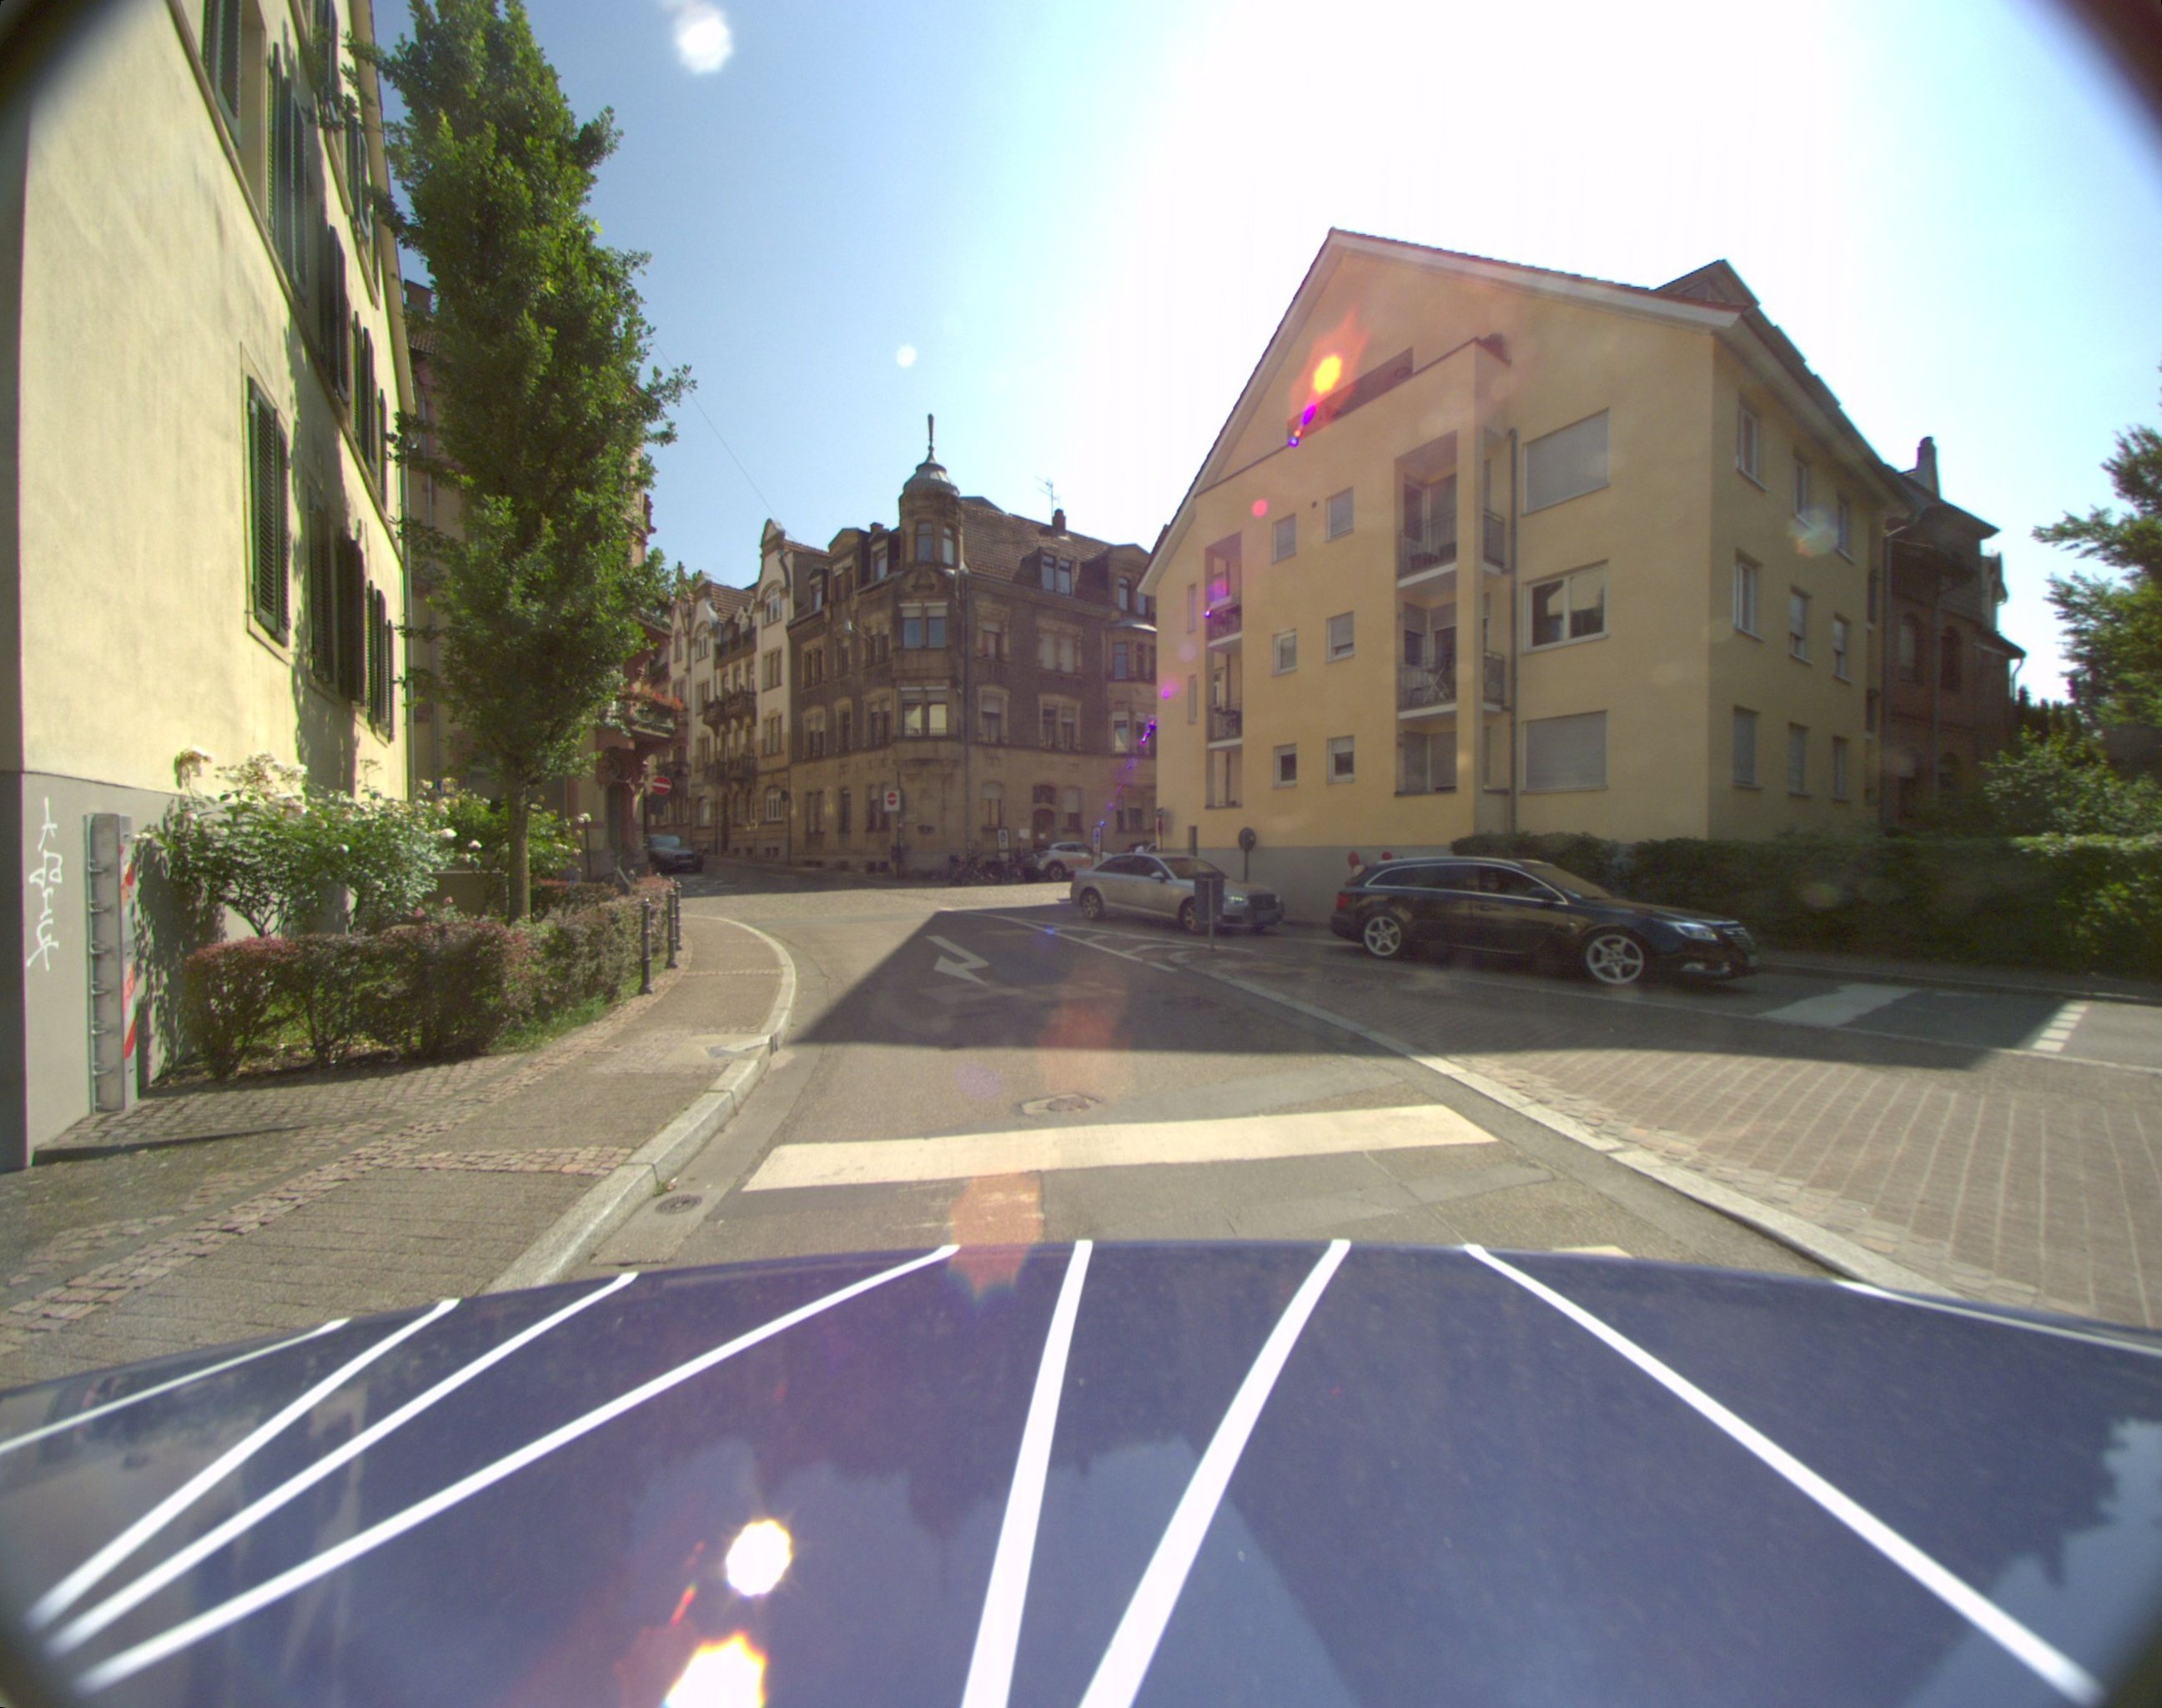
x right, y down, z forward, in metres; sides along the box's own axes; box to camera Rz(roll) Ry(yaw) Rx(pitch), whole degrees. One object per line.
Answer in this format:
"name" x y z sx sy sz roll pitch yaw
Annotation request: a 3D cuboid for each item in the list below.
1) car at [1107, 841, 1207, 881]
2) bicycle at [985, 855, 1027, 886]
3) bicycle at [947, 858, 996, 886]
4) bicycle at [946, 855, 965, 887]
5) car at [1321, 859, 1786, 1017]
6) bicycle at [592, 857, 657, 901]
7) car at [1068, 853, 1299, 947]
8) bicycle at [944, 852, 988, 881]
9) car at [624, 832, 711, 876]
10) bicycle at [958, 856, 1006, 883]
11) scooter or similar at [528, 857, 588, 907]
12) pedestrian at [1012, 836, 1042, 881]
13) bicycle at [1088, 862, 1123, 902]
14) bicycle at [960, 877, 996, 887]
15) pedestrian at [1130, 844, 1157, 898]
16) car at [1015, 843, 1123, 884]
"car" 3.300 0.275 32.523 4.007 1.535 1.848 -2 1 -35
"bicycle" -2.770 0.615 28.041 1.638 1.079 0.286 -2 -2 26
"bicycle" -4.030 0.654 27.882 1.637 1.084 0.285 2 46 43
"bicycle" -4.562 0.609 27.512 0.286 1.080 1.639 -4 2 -22
"car" 5.626 0.839 9.700 1.723 1.453 4.711 2 0 -38
"bicycle" -12.775 0.684 21.258 1.789 1.140 0.506 1 1 18
"car" 1.815 0.756 14.761 1.881 1.484 4.370 -1 1 -38
"bicycle" -4.513 0.492 29.901 1.645 1.080 0.494 0 5 -36
"car" -17.159 -0.060 31.461 4.246 1.574 1.866 3 5 43
"bicycle" -3.679 0.579 28.234 1.637 1.084 0.285 2 46 43
"scooter or similar" -13.547 0.710 19.712 0.441 1.228 1.193 1 2 40
"pedestrian" -2.163 0.157 30.567 0.982 1.749 0.621 -2 6 -37
"bicycle" 0.696 0.798 22.492 0.392 1.073 1.906 0 1 -19
"bicycle" -3.747 1.025 27.612 1.080 0.286 1.121 0 1 -22
"pedestrian" 1.927 0.517 23.439 0.658 1.609 0.492 -1 2 -24
"car" -0.439 0.324 29.935 3.936 1.535 1.847 -1 1 -37
